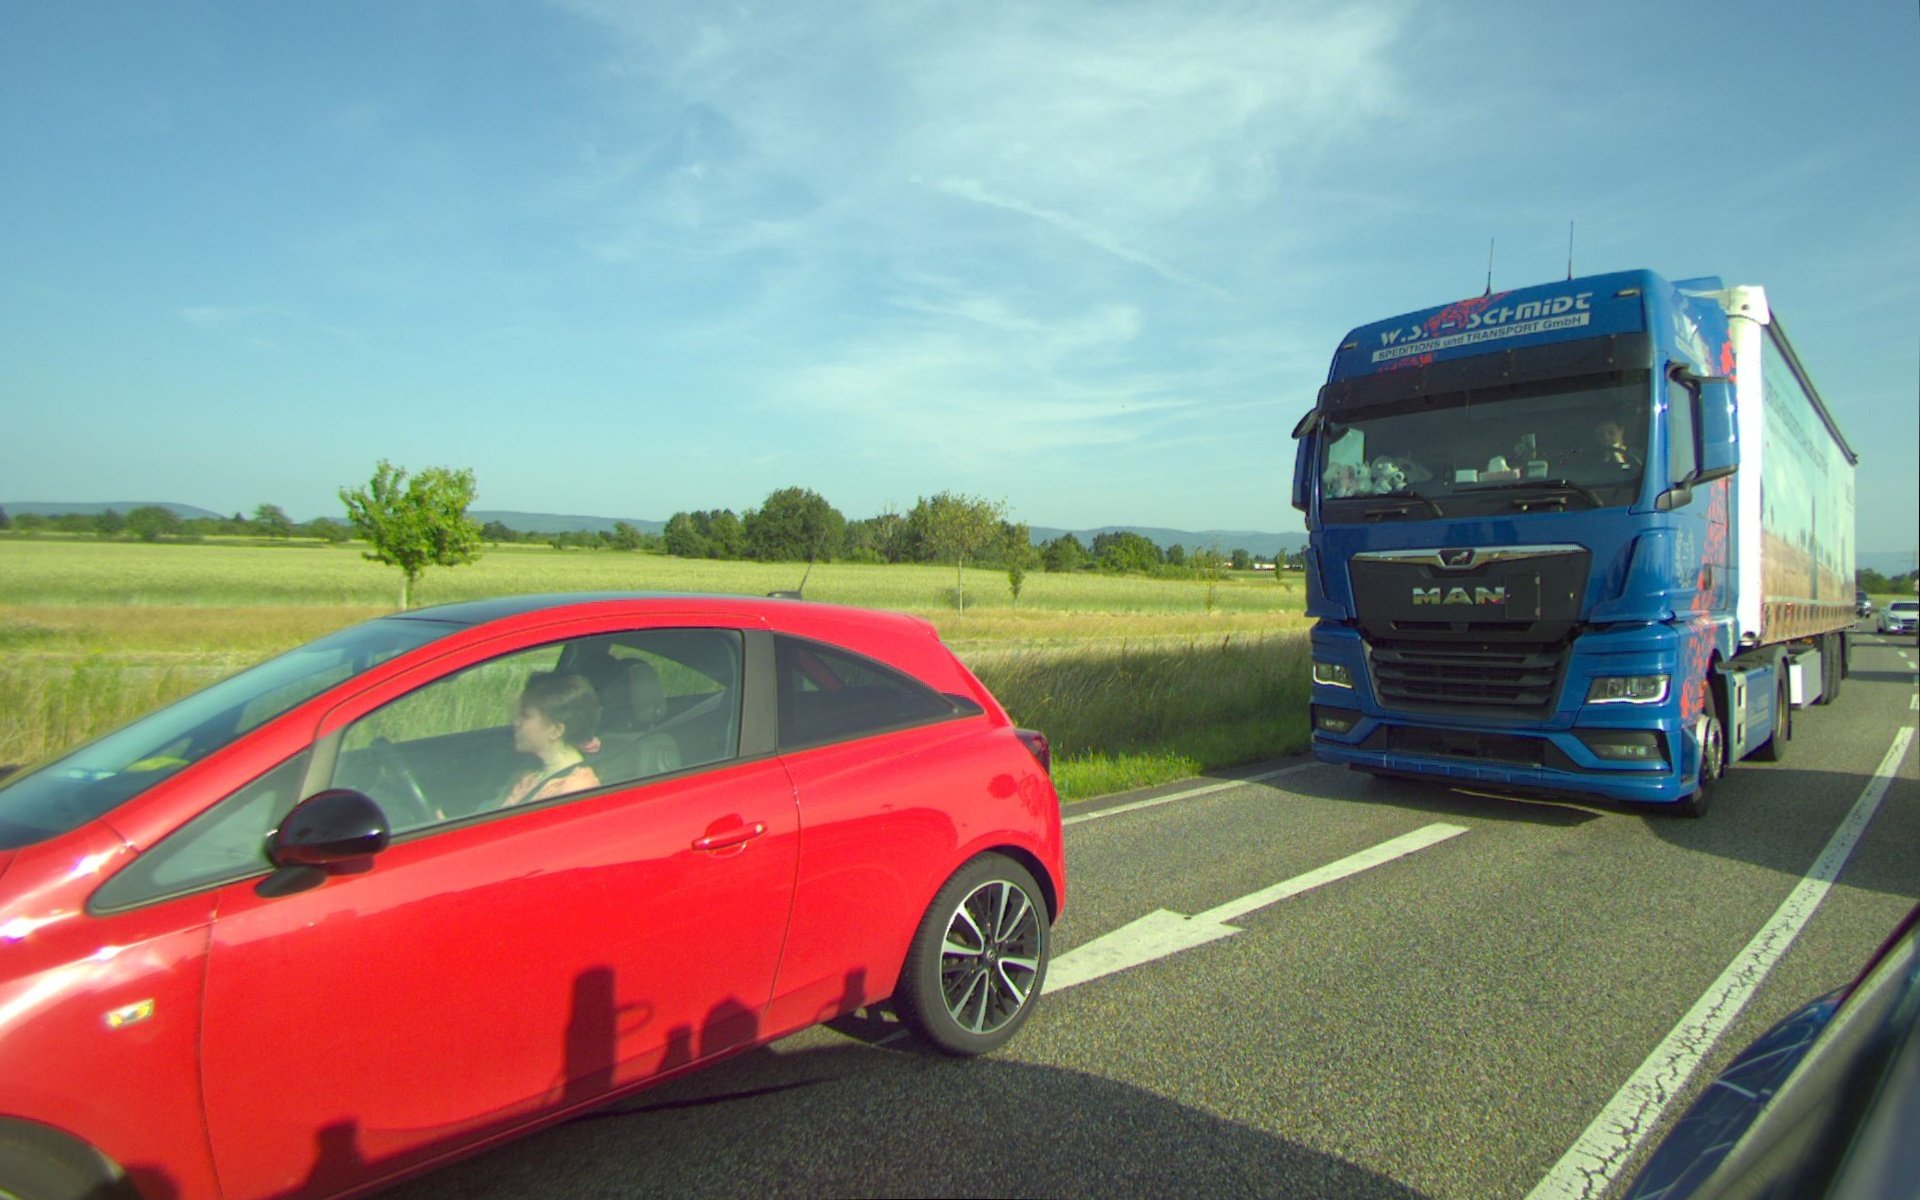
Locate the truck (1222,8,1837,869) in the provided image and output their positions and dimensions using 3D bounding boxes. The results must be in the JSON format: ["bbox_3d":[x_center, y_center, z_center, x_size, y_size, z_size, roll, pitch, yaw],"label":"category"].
[{"bbox_3d":[5.176,-0.931,8.745,3.301,4.716,5.640,0,1,44],"label":"truck"}]

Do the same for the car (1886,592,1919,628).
[{"bbox_3d":[39.313,0.381,41.680,1.551,1.417,3.977,2,2,40],"label":"car"}]

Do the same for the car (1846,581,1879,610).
[{"bbox_3d":[62.867,-0.333,70.511,1.551,1.944,3.977,2,1,40],"label":"car"}]

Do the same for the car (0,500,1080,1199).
[{"bbox_3d":[-1.497,0.600,2.802,3.689,1.568,1.698,0,2,-44],"label":"car"}]

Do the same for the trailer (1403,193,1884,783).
[{"bbox_3d":[10.244,-1.020,13.948,3.282,4.739,12.938,0,1,44],"label":"trailer"}]
